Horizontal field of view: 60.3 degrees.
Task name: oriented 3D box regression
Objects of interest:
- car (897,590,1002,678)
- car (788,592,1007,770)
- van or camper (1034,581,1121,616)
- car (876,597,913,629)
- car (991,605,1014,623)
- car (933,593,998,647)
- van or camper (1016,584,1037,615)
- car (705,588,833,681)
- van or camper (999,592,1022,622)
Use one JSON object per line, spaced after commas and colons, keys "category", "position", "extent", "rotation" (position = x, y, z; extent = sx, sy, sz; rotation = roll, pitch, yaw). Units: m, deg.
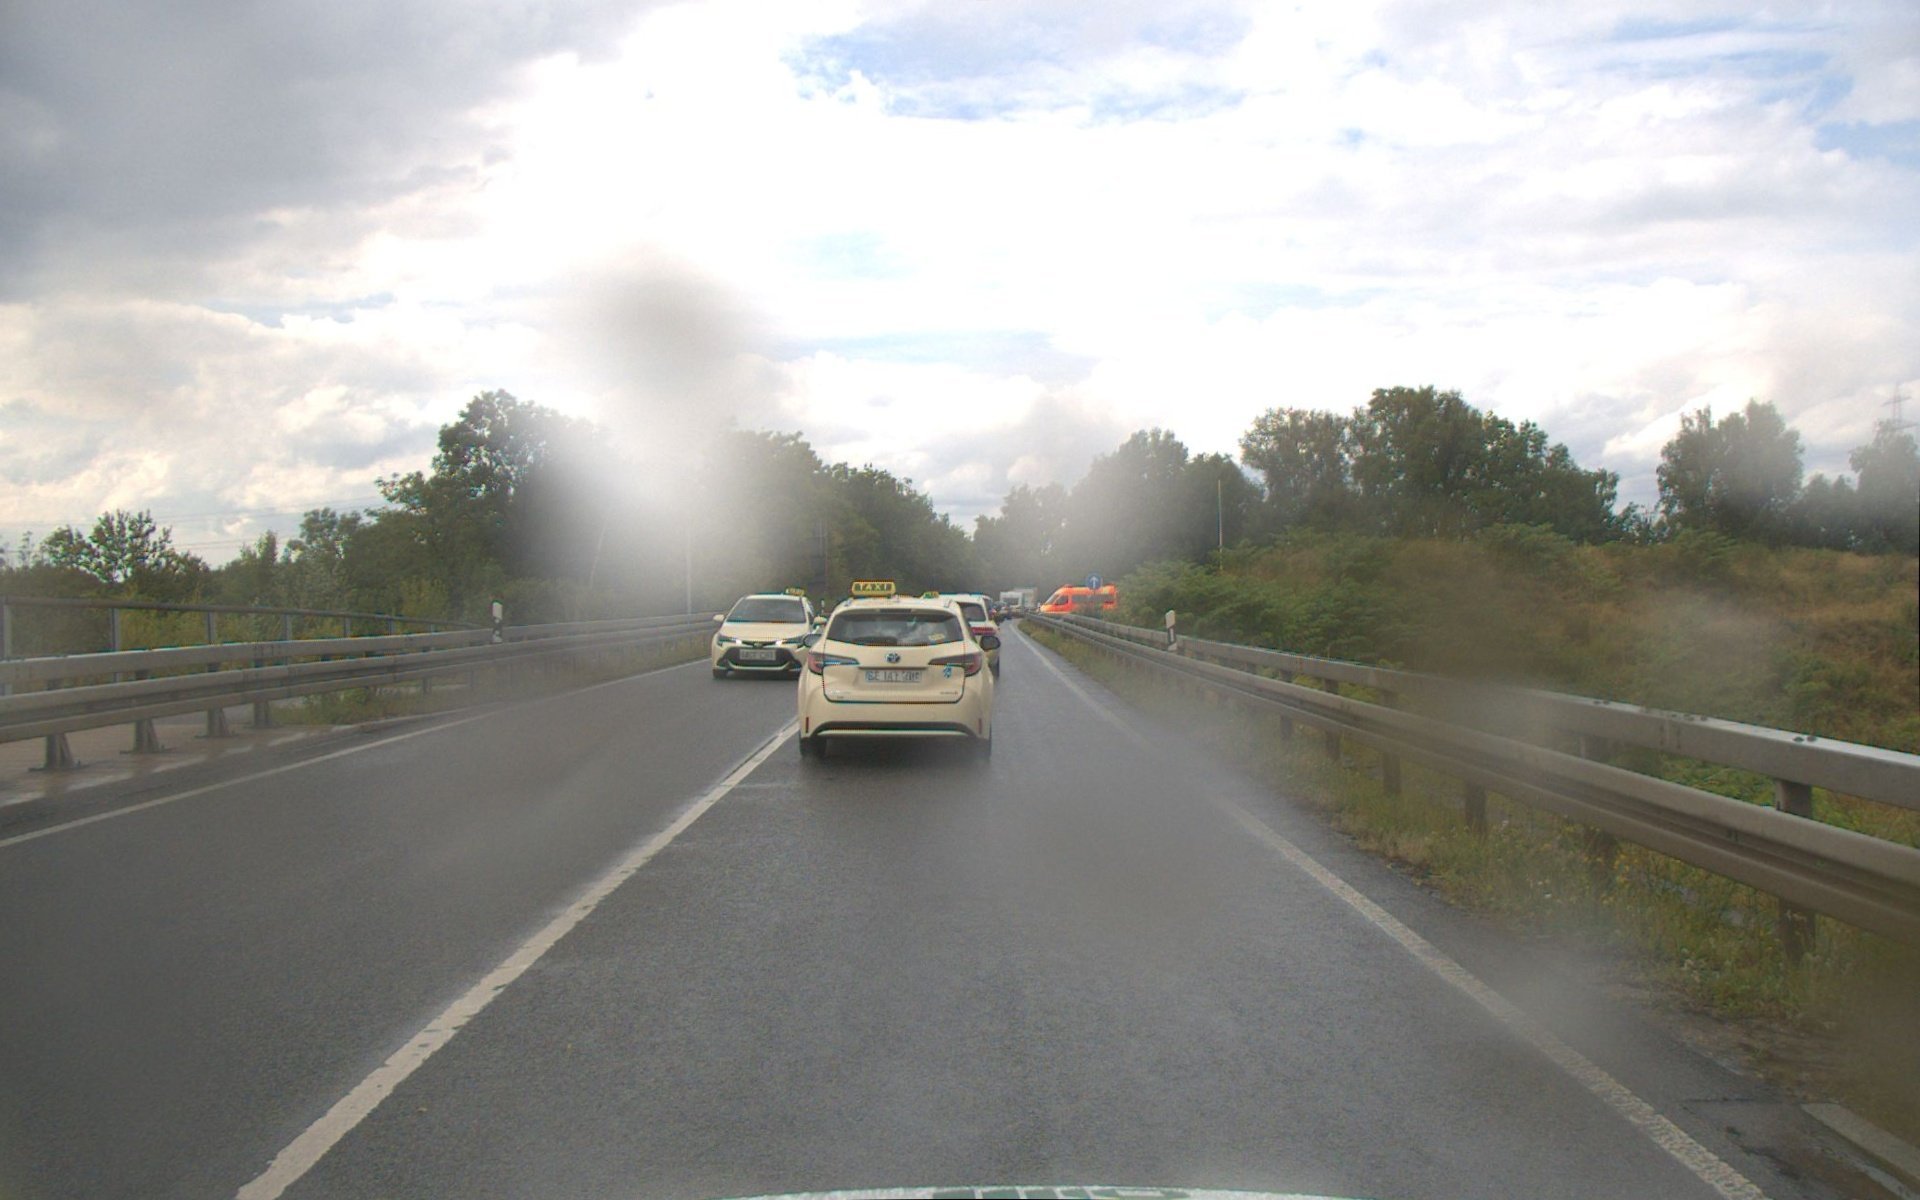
{"category": "car", "position": [-0.194, 0.579, 30.906], "extent": [1.816, 1.468, 4.171], "rotation": [1, 1, 0]}
{"category": "car", "position": [-0.539, 0.672, 15.991], "extent": [1.816, 1.418, 4.171], "rotation": [1, 1, 0]}
{"category": "van or camper", "position": [8.025, -0.100, 112.679], "extent": [5.583, 2.280, 2.012], "rotation": [1, 0, -15]}
{"category": "car", "position": [-3.372, 0.644, 85.417], "extent": [1.743, 1.588, 4.301], "rotation": [1, 0, 0]}
{"category": "car", "position": [3.729, 1.204, 144.337], "extent": [1.815, 1.468, 4.173], "rotation": [1, 0, 3]}
{"category": "car", "position": [0.141, 0.554, 49.168], "extent": [1.816, 1.468, 4.171], "rotation": [1, 1, 0]}
{"category": "van or camper", "position": [7.914, -0.087, 197.033], "extent": [2.284, 3.625, 6.307], "rotation": [1, 0, 1]}
{"category": "car", "position": [-3.357, 0.560, 29.908], "extent": [1.773, 1.536, 4.611], "rotation": [1, 0, 0]}
{"category": "van or camper", "position": [5.099, 0.641, 167.579], "extent": [2.284, 2.914, 6.307], "rotation": [1, 0, 1]}
